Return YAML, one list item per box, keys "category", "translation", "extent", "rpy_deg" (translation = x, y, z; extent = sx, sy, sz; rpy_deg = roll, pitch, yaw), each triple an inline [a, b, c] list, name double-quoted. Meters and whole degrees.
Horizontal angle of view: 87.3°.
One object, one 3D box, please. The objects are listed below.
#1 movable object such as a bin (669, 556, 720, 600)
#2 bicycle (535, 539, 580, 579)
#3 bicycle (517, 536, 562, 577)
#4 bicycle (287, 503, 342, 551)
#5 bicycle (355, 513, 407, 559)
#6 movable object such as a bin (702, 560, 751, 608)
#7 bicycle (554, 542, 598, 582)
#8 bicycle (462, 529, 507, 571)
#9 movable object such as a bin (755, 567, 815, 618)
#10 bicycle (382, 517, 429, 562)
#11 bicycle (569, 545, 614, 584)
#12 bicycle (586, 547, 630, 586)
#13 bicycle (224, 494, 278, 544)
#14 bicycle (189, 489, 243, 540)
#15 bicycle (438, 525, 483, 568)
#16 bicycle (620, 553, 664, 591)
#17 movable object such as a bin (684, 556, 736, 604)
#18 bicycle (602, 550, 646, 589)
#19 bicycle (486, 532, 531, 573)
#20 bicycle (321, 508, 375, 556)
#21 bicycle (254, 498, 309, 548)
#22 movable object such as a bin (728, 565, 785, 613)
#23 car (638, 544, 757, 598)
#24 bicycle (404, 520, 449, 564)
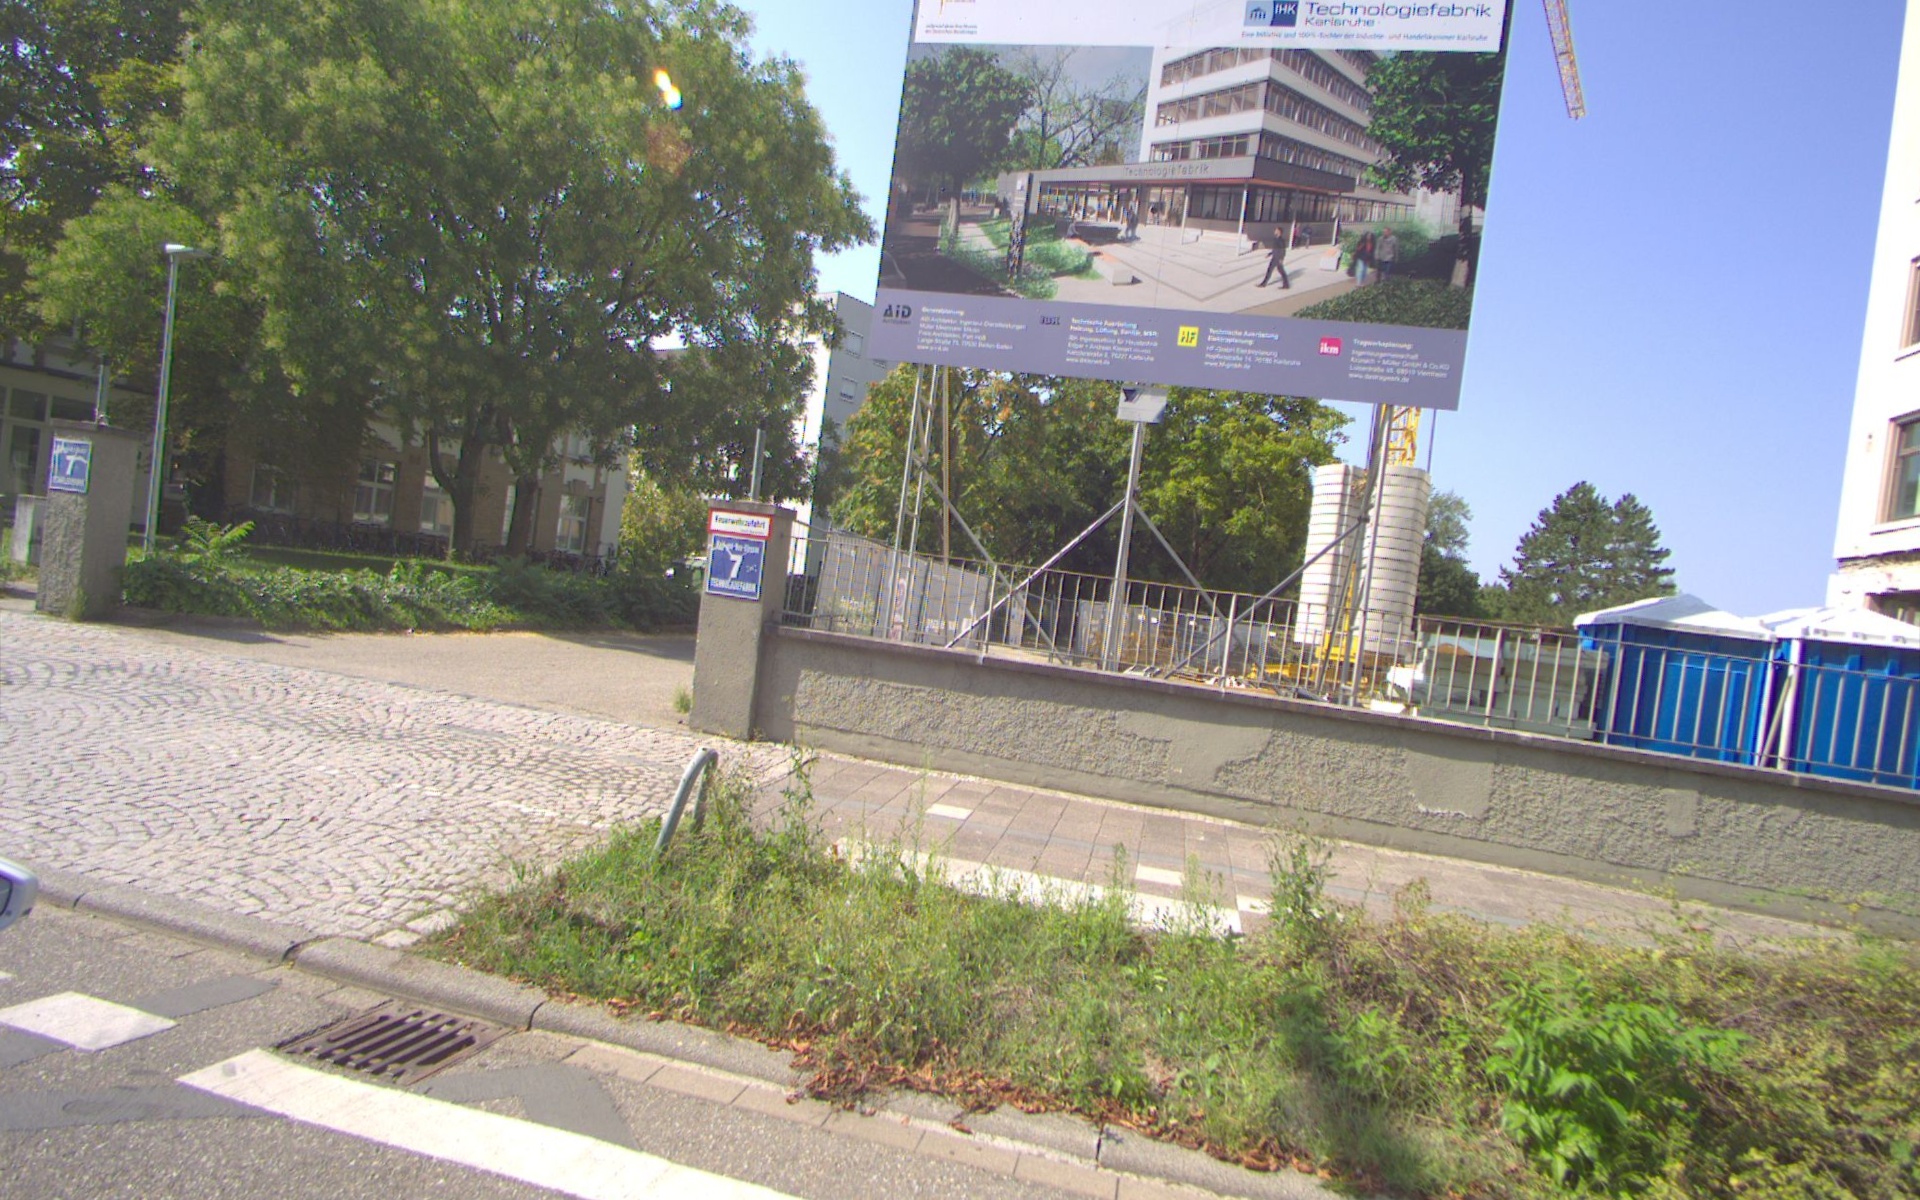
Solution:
- category: "movable object such as a bin"
  translation: [-10.159, -0.836, 38.504]
  extent: [1.187, 1.462, 1.246]
  rpy_deg: [9, 1, 34]
- category: "bicycle"
  translation: [-14.953, -1.526, 37.340]
  extent: [2.145, 1.318, 0.606]
  rpy_deg: [7, 0, 44]
- category: "bicycle"
  translation: [-15.350, -1.592, 36.677]
  extent: [2.145, 1.318, 0.606]
  rpy_deg: [7, 0, 44]
- category: "bicycle"
  translation: [-19.910, -2.261, 31.001]
  extent: [2.493, 1.318, 0.767]
  rpy_deg: [7, 0, 44]
- category: "bicycle"
  translation: [-18.836, -2.085, 32.690]
  extent: [2.243, 1.318, 0.767]
  rpy_deg: [7, 0, 44]
- category: "movable object such as a bin"
  translation: [-8.315, -0.579, 35.870]
  extent: [1.084, 1.500, 1.098]
  rpy_deg: [9, 1, 35]
- category: "bicycle"
  translation: [-14.430, -1.425, 37.773]
  extent: [2.145, 1.318, 0.606]
  rpy_deg: [7, 0, 44]
- category: "bicycle"
  translation: [-16.653, -1.769, 35.214]
  extent: [2.145, 1.318, 0.606]
  rpy_deg: [7, 0, 44]
- category: "movable object such as a bin"
  translation: [-5.972, -0.247, 34.398]
  extent: [1.349, 1.511, 1.334]
  rpy_deg: [8, 1, 26]
- category: "bicycle"
  translation: [-18.373, -2.024, 33.315]
  extent: [2.243, 1.318, 0.624]
  rpy_deg: [7, 0, 44]
- category: "bicycle"
  translation: [-14.053, -1.360, 38.350]
  extent: [2.145, 1.318, 0.606]
  rpy_deg: [7, 0, 44]
- category: "bicycle"
  translation: [-13.609, -1.287, 38.869]
  extent: [2.145, 1.318, 0.606]
  rpy_deg: [7, 0, 44]
- category: "bicycle"
  translation: [-20.844, -2.397, 29.552]
  extent: [2.493, 1.318, 0.767]
  rpy_deg: [7, 0, 44]
- category: "bicycle"
  translation: [-21.487, -2.483, 29.042]
  extent: [2.493, 1.318, 0.767]
  rpy_deg: [7, 0, 44]
- category: "bicycle"
  translation: [-17.289, -1.869, 34.767]
  extent: [2.145, 1.318, 0.606]
  rpy_deg: [7, 0, 44]
- category: "bicycle"
  translation: [-12.634, -1.128, 39.944]
  extent: [2.145, 1.318, 0.606]
  rpy_deg: [7, 0, 44]
- category: "movable object such as a bin"
  translation: [-9.197, -0.723, 37.015]
  extent: [1.187, 1.514, 1.246]
  rpy_deg: [9, 1, 35]
- category: "bicycle"
  translation: [-13.159, -1.204, 39.374]
  extent: [2.145, 1.318, 0.606]
  rpy_deg: [7, 0, 44]
- category: "bicycle"
  translation: [-16.107, -1.701, 35.885]
  extent: [2.145, 1.318, 0.606]
  rpy_deg: [7, 0, 44]
- category: "bicycle"
  translation: [-19.456, -2.176, 31.962]
  extent: [2.493, 1.318, 0.767]
  rpy_deg: [7, 0, 44]
- category: "bicycle"
  translation: [-20.422, -2.331, 30.250]
  extent: [2.493, 1.318, 0.767]
  rpy_deg: [7, 0, 44]
- category: "movable object such as a bin"
  translation: [-7.165, -0.390, 35.413]
  extent: [1.310, 1.449, 1.246]
  rpy_deg: [9, 1, 34]
- category: "car"
  translation: [-13.025, -1.409, 50.058]
  extent: [2.468, 1.904, 5.059]
  rpy_deg: [8, 0, 43]
- category: "bicycle"
  translation: [-17.962, -1.965, 33.827]
  extent: [2.145, 1.318, 0.606]
  rpy_deg: [7, 0, 44]
